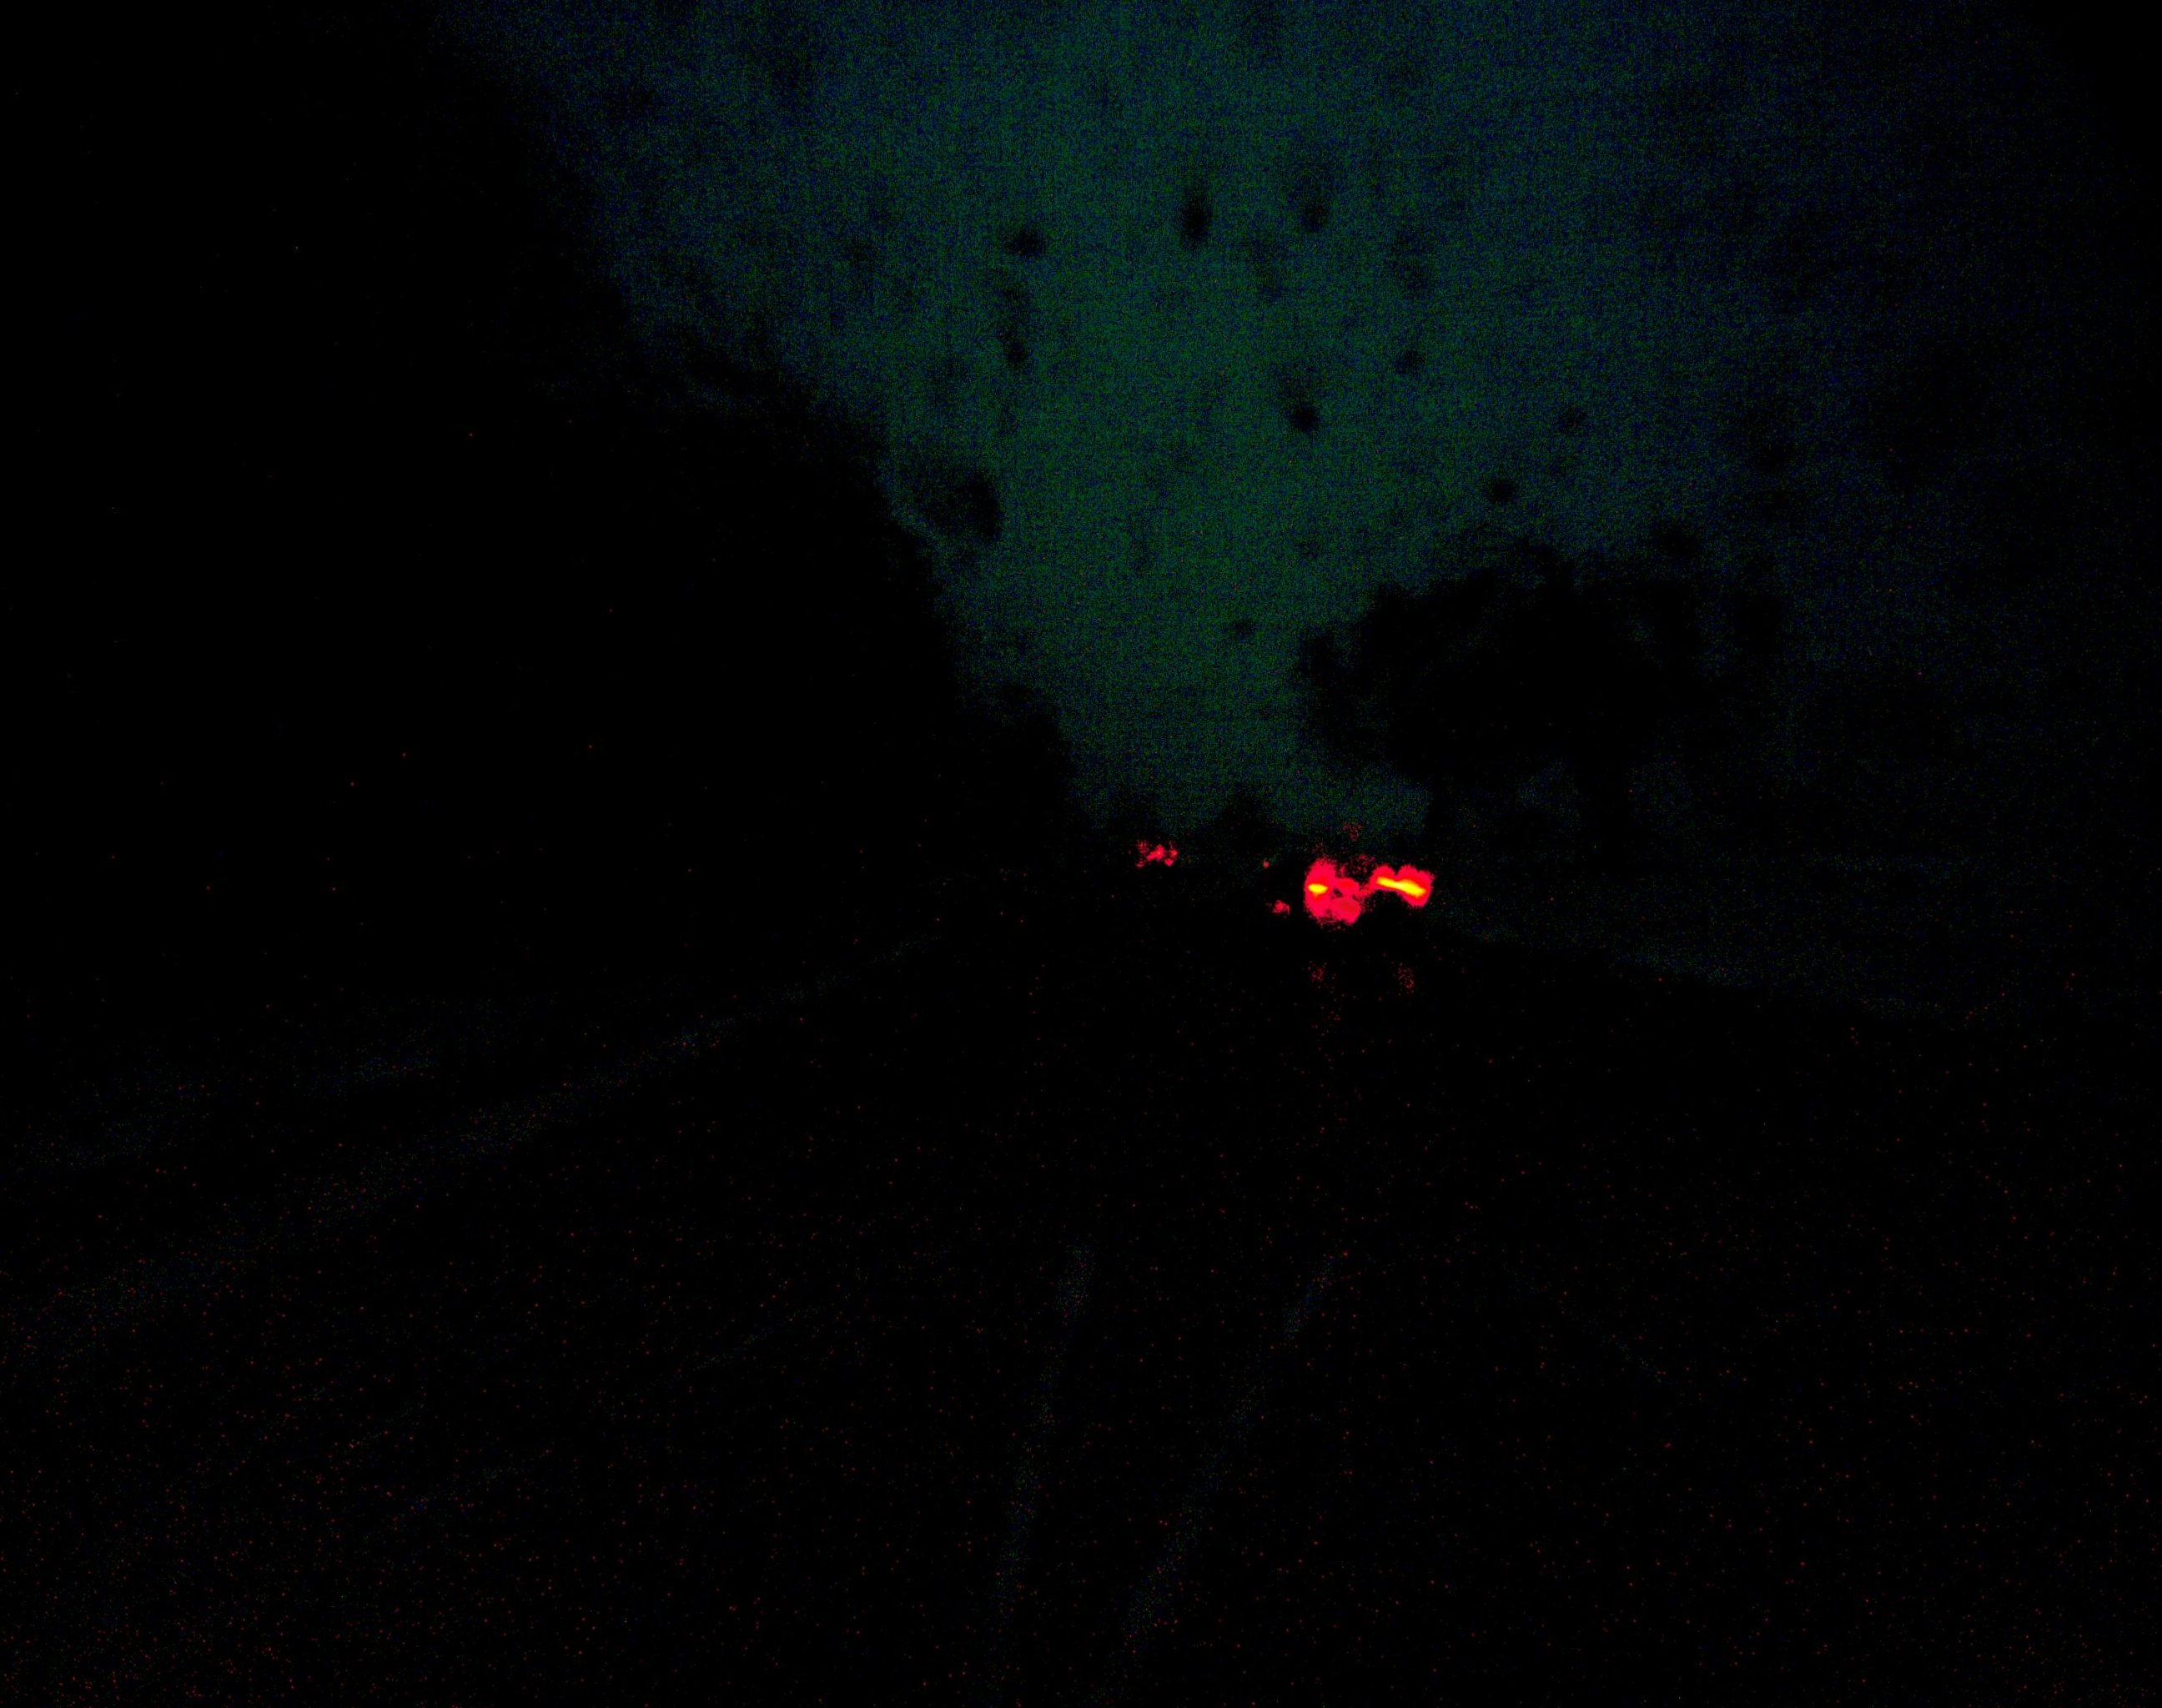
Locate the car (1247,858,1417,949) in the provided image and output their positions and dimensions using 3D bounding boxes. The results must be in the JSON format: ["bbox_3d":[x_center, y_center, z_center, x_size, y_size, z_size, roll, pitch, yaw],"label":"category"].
[{"bbox_3d":[4.539,0.820,14.393,1.746,1.477,4.003,0,0,-3],"label":"car"}]

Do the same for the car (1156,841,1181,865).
[{"bbox_3d":[6.682,-0.100,58.020,1.755,1.683,4.428,-1,0,7],"label":"car"}]
